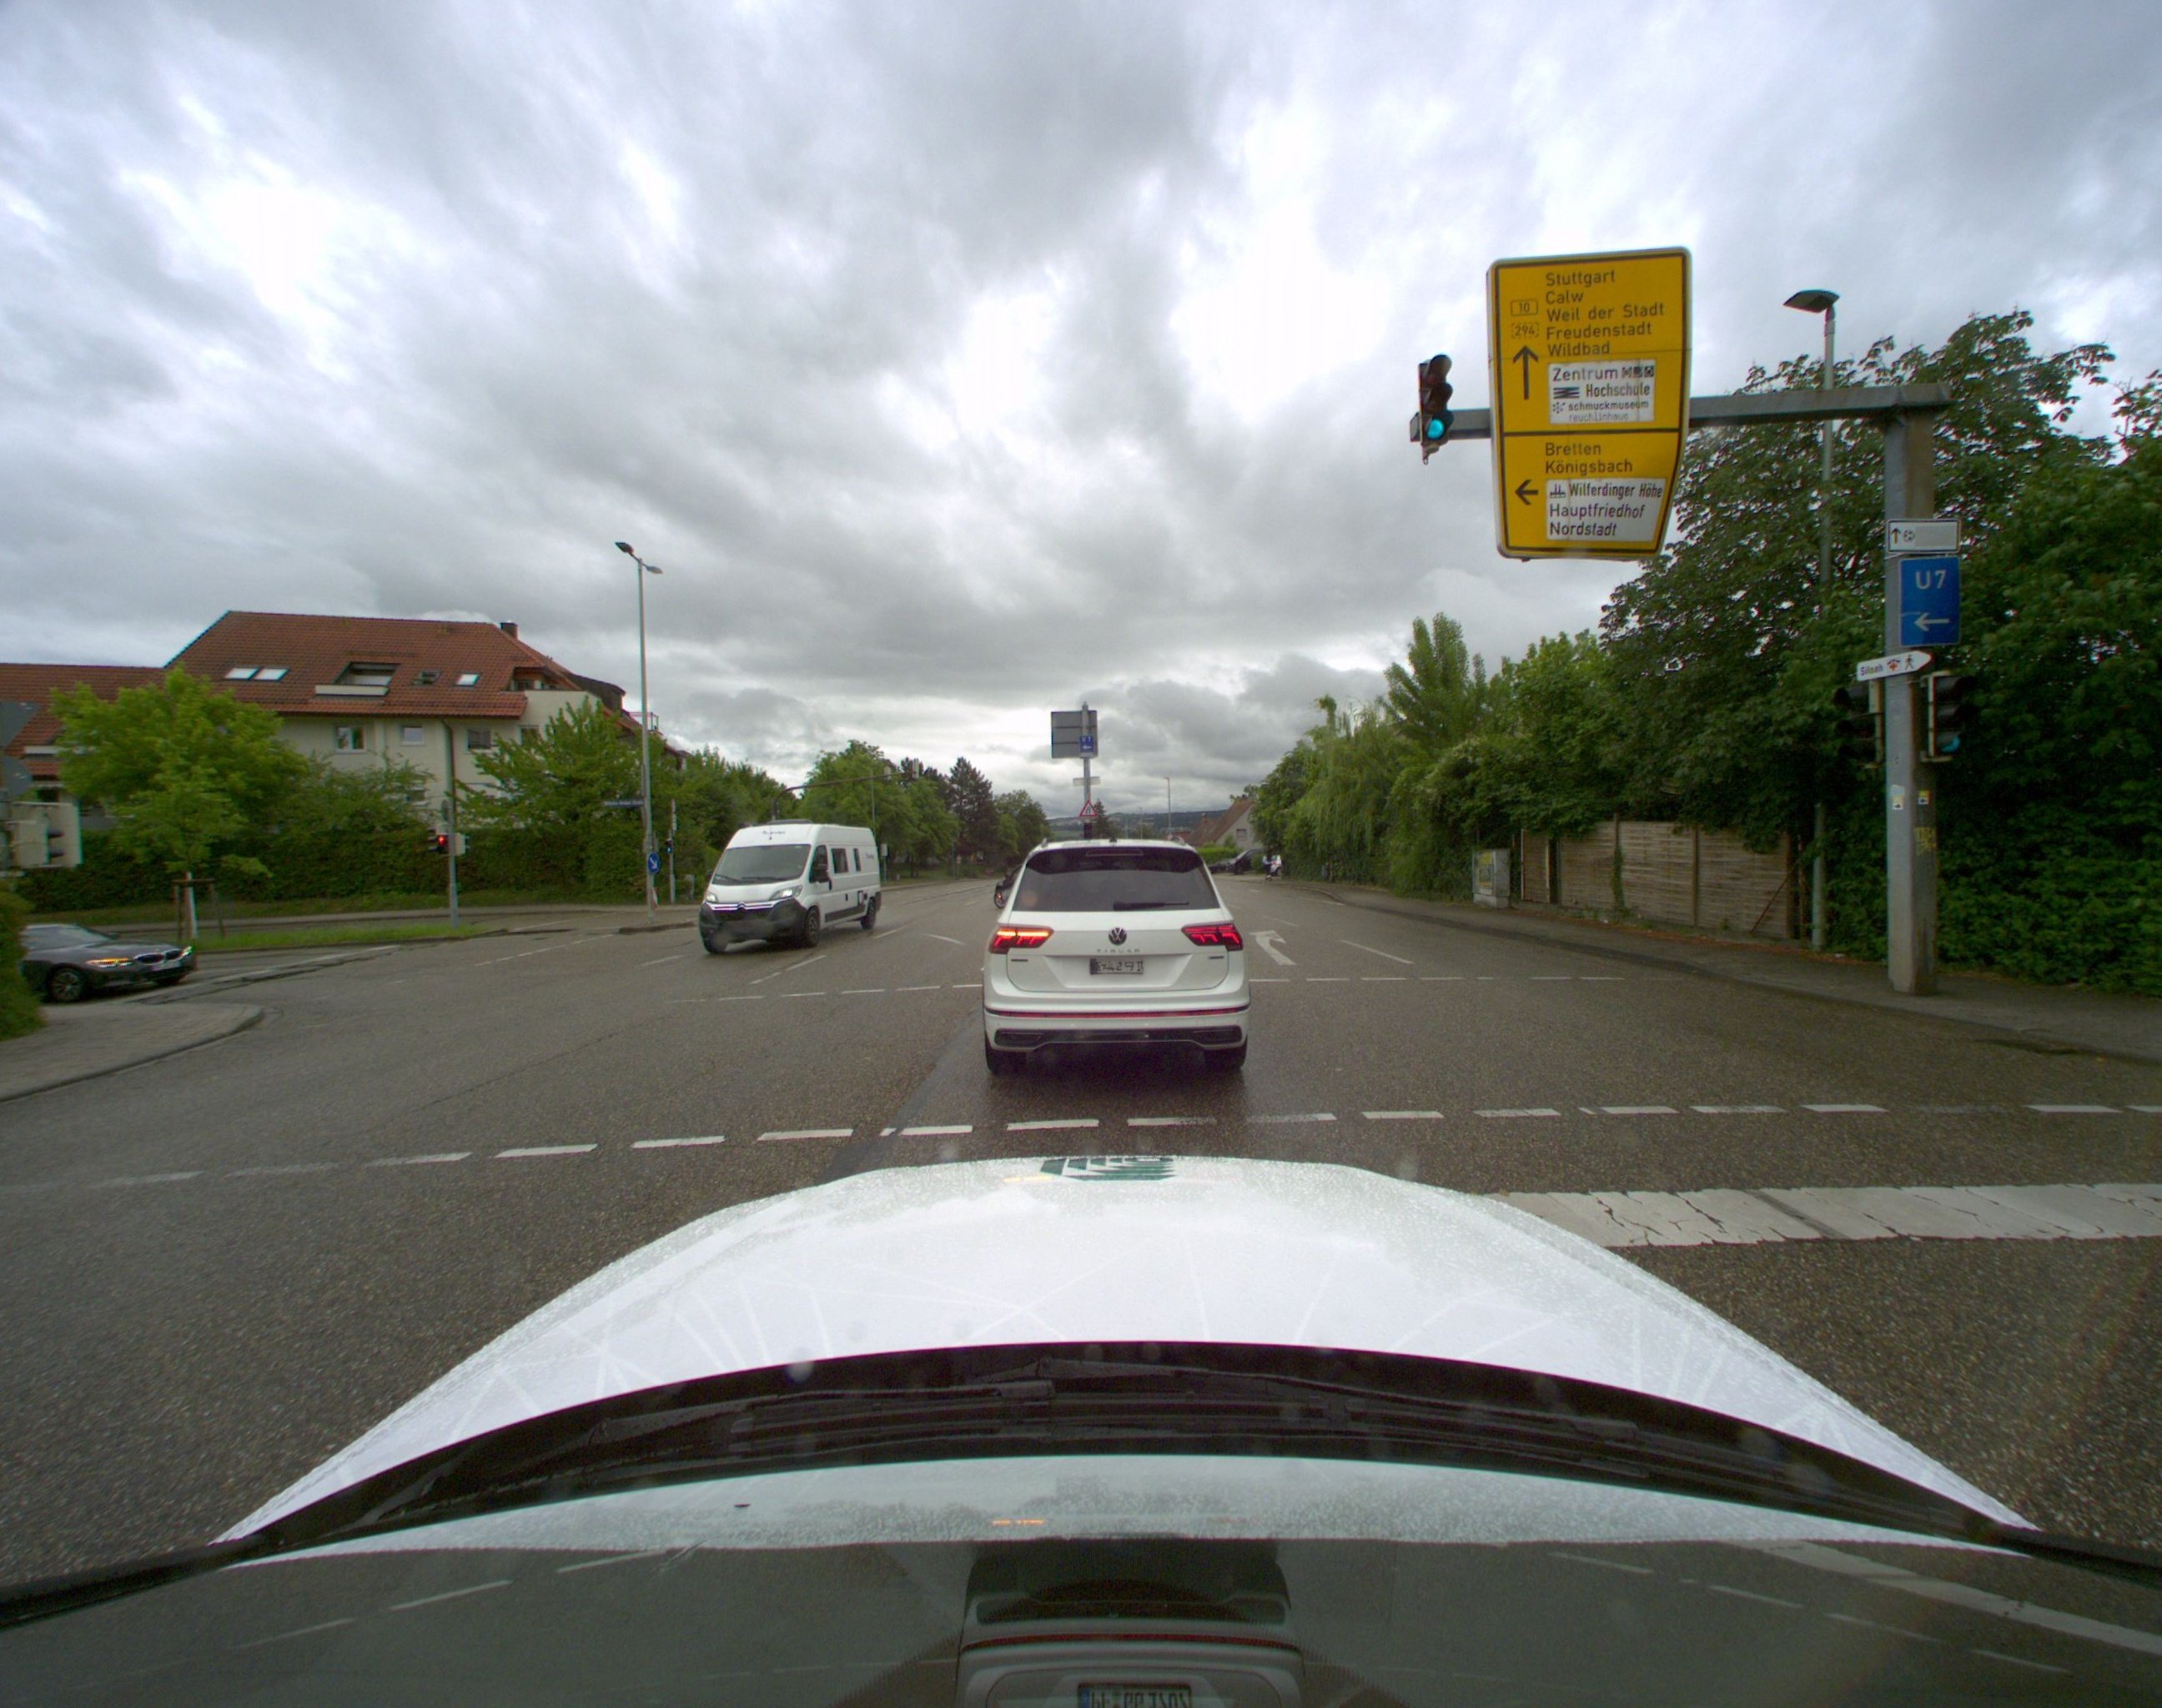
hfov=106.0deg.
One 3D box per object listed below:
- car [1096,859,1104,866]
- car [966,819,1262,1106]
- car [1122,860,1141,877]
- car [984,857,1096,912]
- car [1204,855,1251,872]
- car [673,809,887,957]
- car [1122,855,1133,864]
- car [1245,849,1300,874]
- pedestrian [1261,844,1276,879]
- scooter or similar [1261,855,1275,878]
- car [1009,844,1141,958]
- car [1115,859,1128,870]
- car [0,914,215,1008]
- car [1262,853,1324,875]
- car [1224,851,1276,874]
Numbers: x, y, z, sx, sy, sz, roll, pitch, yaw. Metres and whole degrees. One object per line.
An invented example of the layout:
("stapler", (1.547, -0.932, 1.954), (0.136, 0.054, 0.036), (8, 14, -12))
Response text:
("car", (4.781, 2.166, 200.826), (1.843, 1.574, 4.002), (-2, 0, 2))
("car", (0.236, 0.646, 6.982), (1.756, 1.696, 4.273), (0, 0, 1))
("car", (4.515, 1.283, 72.403), (1.618, 1.403, 3.693), (0, 0, 3))
("car", (-1.338, 0.873, 24.956), (1.772, 1.479, 3.961), (-2, 0, -31))
("car", (12.193, 0.781, 67.935), (3.675, 1.370, 1.518), (-1, -2, 0))
("car", (-6.135, 0.538, 17.628), (2.289, 2.528, 5.773), (-4, 0, 0))
("car", (8.179, 1.003, 144.702), (1.843, 1.574, 4.002), (-2, 0, 2))
("car", (14.252, 0.559, 60.647), (3.618, 1.746, 1.706), (-2, 0, -2))
("pedestrian", (11.042, 0.428, 47.984), (0.654, 2.002, 0.717), (-1, 0, -2))
("scooter or similar", (11.036, 0.727, 48.035), (0.460, 1.361, 1.384), (-1, 0, -2))
("car", (0.051, 0.681, 13.720), (1.790, 1.589, 3.932), (-2, 0, 5))
("car", (5.960, 1.499, 119.199), (1.843, 1.574, 4.002), (-2, 0, 2))
("car", (-19.878, 2.090, 15.558), (4.413, 1.393, 1.773), (-4, 1, -5))
("car", (14.370, 0.696, 55.336), (3.709, 1.395, 1.725), (-2, -1, -6))
("car", (13.044, 0.648, 63.042), (3.618, 1.626, 1.789), (-1, -1, -3))
